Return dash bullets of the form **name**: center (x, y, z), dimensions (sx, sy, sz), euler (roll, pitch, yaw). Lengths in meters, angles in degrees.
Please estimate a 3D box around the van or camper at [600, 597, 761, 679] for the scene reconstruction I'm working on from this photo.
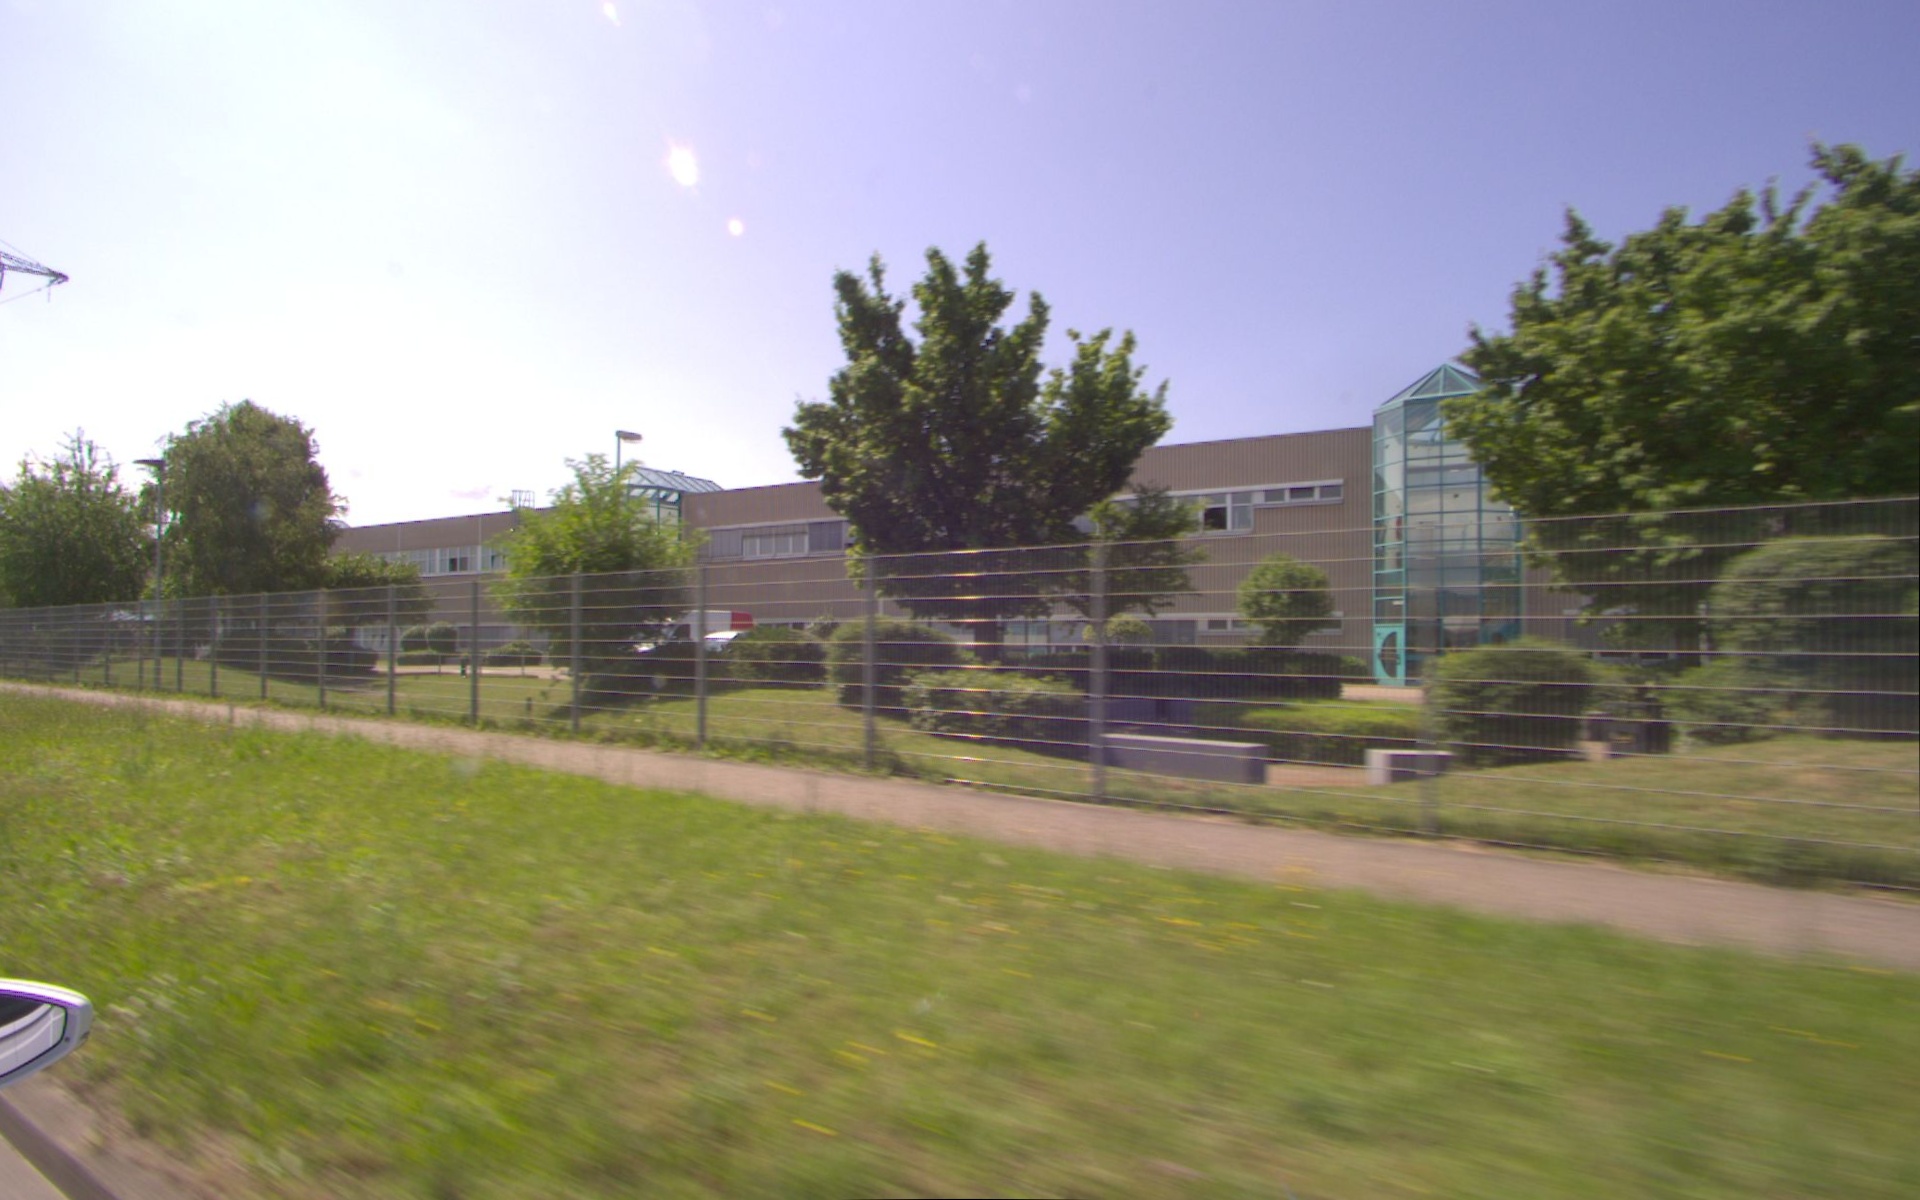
- **van or camper**: center (-9.786, 1.453, 35.619), dimensions (1.969, 2.548, 5.774), euler (0, -5, 28)
